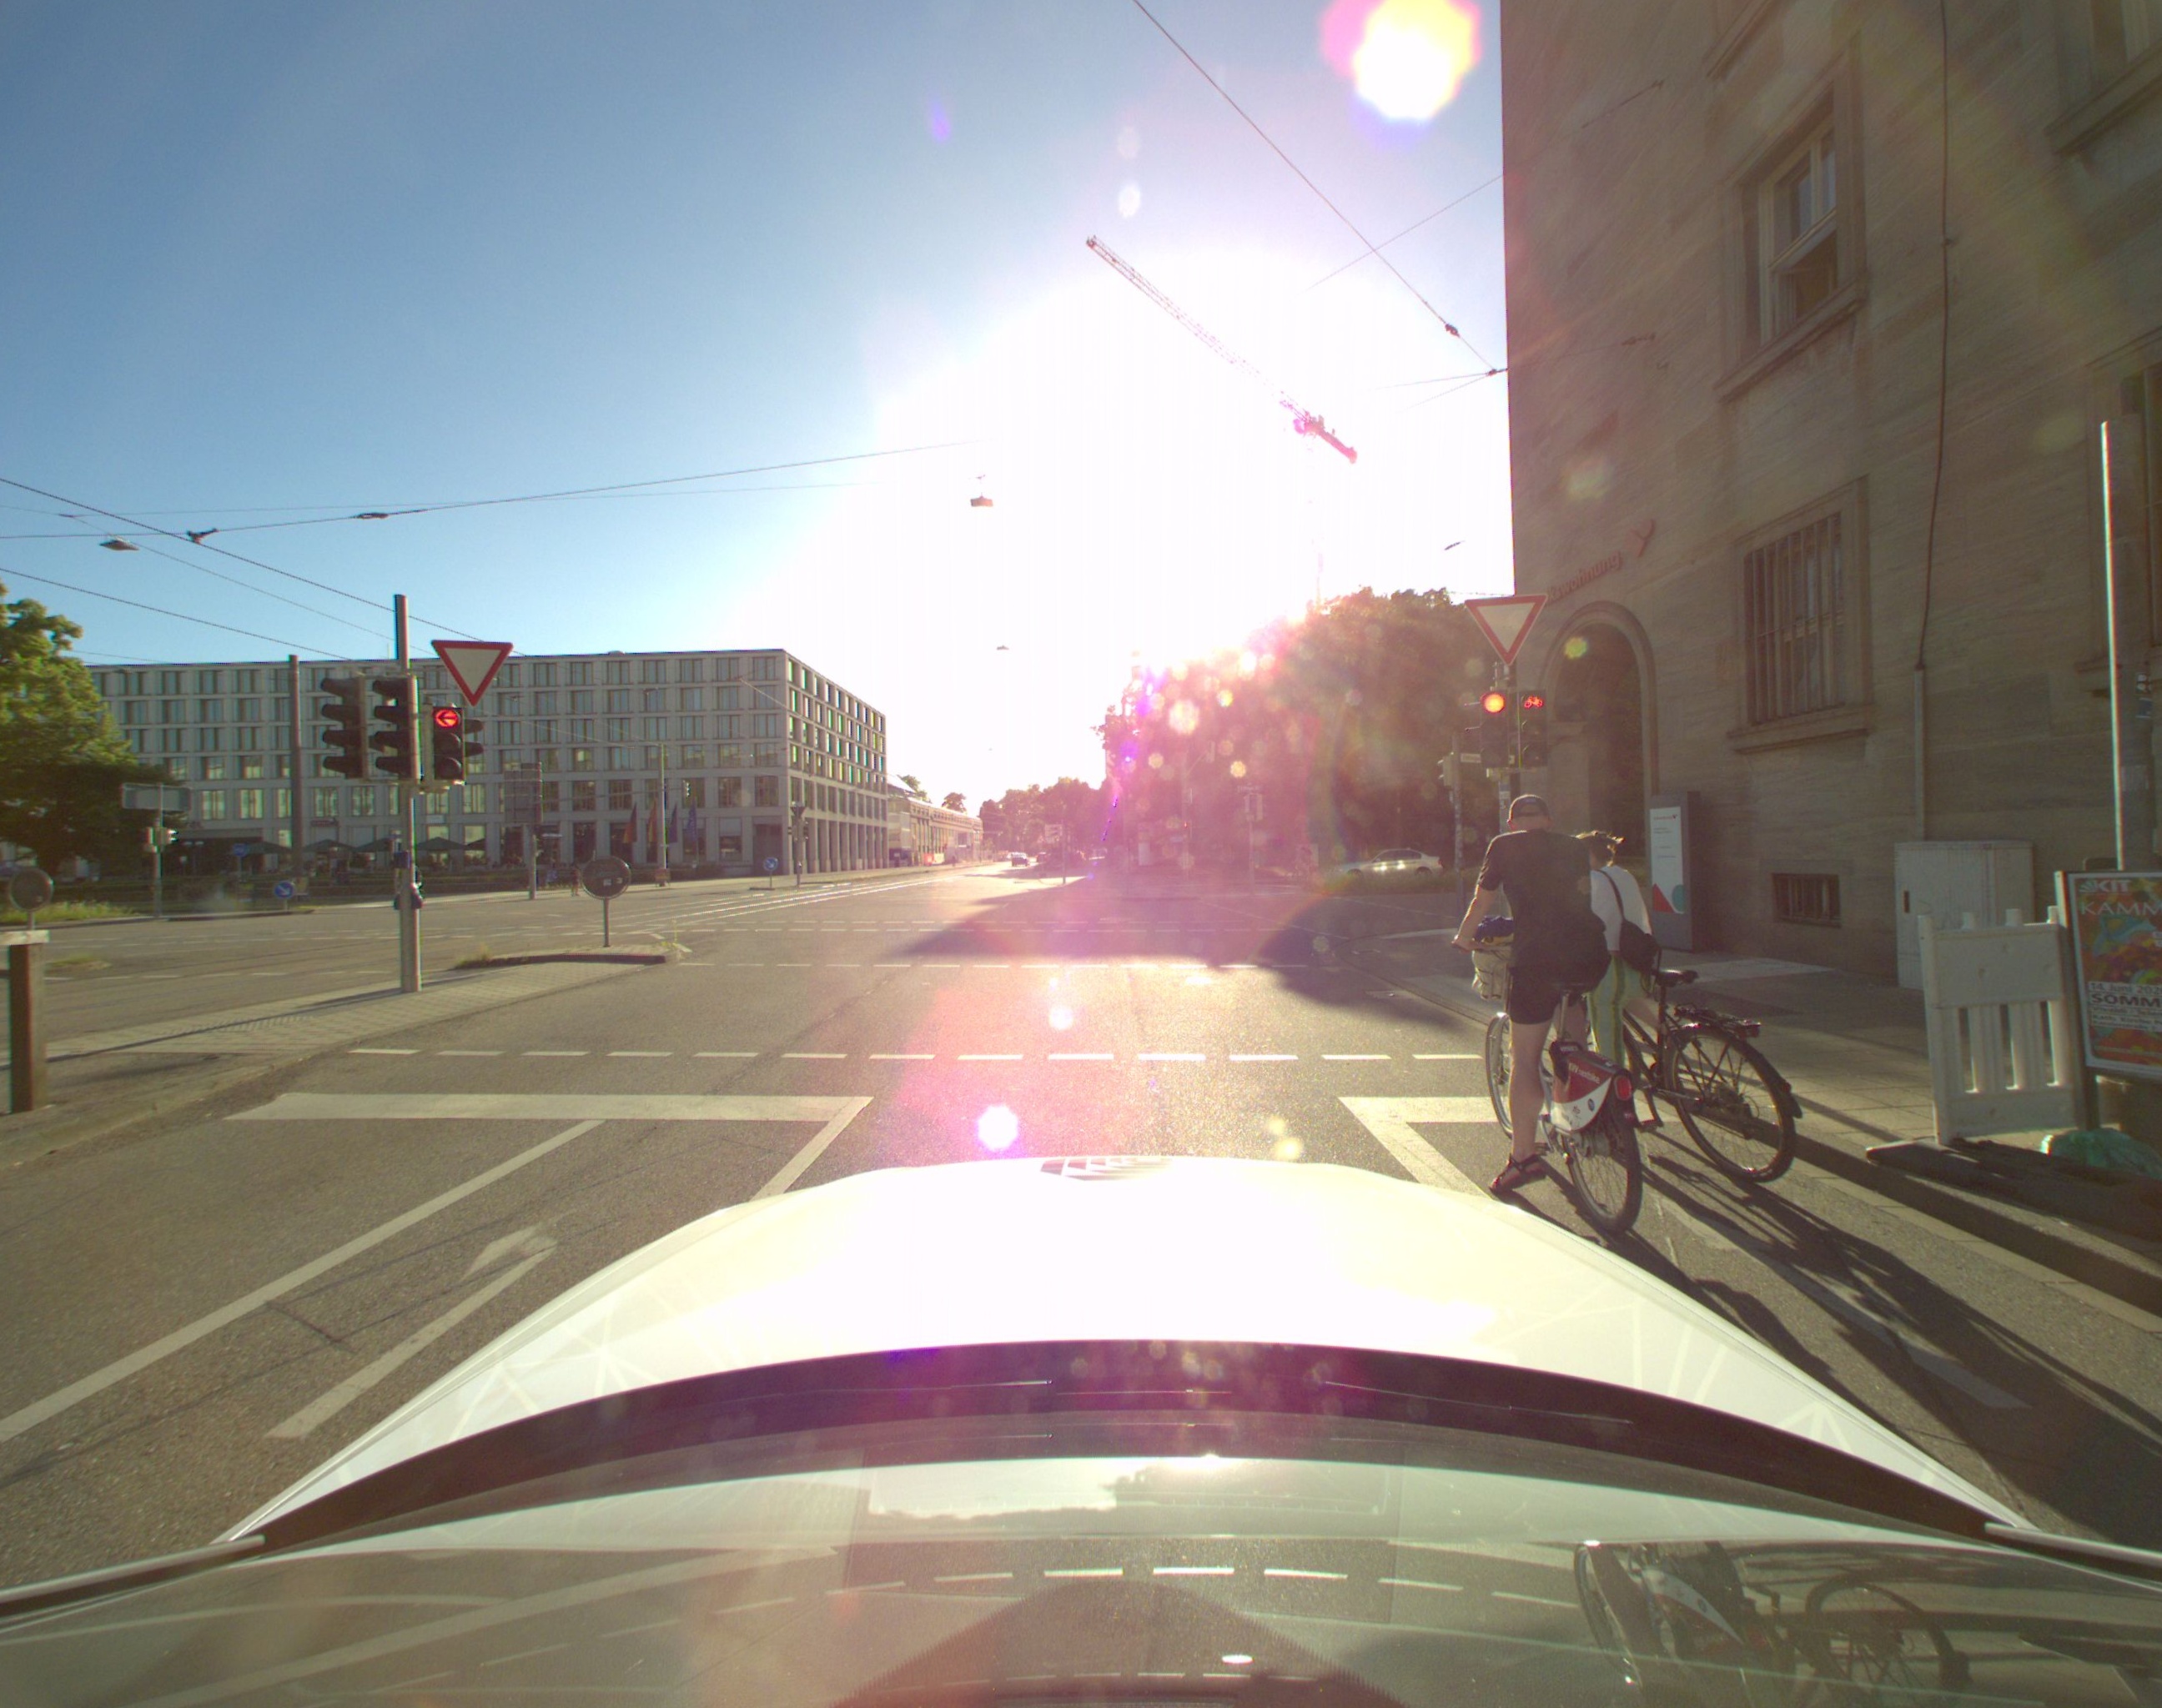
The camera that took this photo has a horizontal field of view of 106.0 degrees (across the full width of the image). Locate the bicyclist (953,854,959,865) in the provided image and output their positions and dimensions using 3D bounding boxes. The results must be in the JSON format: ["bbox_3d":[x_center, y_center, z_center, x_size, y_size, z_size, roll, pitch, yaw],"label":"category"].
[{"bbox_3d":[-14.877,0.675,97.189,0.594,1.377,0.637,0,-1,0],"label":"bicyclist"}]

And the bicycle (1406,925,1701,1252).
[{"bbox_3d":[2.129,0.960,3.941,0.513,1.077,1.729,-1,0,4],"label":"bicycle"}]

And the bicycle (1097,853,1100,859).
[{"bbox_3d":[3.263,0.416,149.415,0.573,1.077,1.831,-2,0,1],"label":"bicycle"}]

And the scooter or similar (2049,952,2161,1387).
[{"bbox_3d":[3.284,0.901,1.867,0.533,1.185,1.328,-2,0,1],"label":"scooter or similar"}]

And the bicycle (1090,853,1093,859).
[{"bbox_3d":[1.978,0.424,149.334,0.573,1.077,1.831,-2,0,1],"label":"bicycle"}]

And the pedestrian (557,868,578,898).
[{"bbox_3d":[-28.684,1.616,45.509,0.776,1.589,0.588,-2,0,-14],"label":"pedestrian"}]

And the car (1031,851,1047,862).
[{"bbox_3d":[-6.554,0.350,127.574,1.884,1.565,4.813,1,0,4],"label":"car"}]

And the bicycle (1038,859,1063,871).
[{"bbox_3d":[-2.564,0.905,67.709,1.996,0.891,0.655,-4,-1,29],"label":"bicycle"}]

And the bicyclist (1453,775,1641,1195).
[{"bbox_3d":[2.131,0.564,3.784,0.556,1.799,0.551,-1,0,3],"label":"bicyclist"}]

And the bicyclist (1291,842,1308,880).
[{"bbox_3d":[9.675,0.305,36.097,0.640,1.683,0.508,-2,0,7],"label":"bicyclist"}]

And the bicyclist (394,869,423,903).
[{"bbox_3d":[-32.668,1.540,39.581,0.752,1.589,0.781,-1,0,20],"label":"bicyclist"}]

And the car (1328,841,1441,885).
[{"bbox_3d":[12.354,0.353,33.260,3.979,1.611,1.650,-2,0,1],"label":"car"}]

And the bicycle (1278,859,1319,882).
[{"bbox_3d":[9.647,0.746,36.118,1.657,0.963,0.535,-2,0,7],"label":"bicycle"}]

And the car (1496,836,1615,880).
[{"bbox_3d":[19.225,0.159,33.078,3.835,1.611,1.650,-2,0,1],"label":"car"}]

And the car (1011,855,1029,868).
[{"bbox_3d":[-7.003,0.894,94.020,1.654,1.455,4.432,-1,0,0],"label":"car"}]

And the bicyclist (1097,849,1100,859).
[{"bbox_3d":[3.241,0.009,149.439,0.567,1.691,0.700,-2,0,1],"label":"bicyclist"}]

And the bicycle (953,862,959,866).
[{"bbox_3d":[-14.860,1.204,97.179,0.499,0.515,1.258,0,-1,1],"label":"bicycle"}]

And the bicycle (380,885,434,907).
[{"bbox_3d":[-32.711,2.024,39.560,0.754,0.935,1.873,-2,0,20],"label":"bicycle"}]

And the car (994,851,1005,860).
[{"bbox_3d":[-15.661,0.258,157.077,1.688,1.718,4.245,0,-1,-1],"label":"car"}]

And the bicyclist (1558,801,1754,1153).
[{"bbox_3d":[2.962,0.594,4.251,0.556,1.691,0.640,-1,0,0],"label":"bicyclist"}]

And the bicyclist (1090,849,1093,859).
[{"bbox_3d":[1.967,0.028,149.372,0.567,1.691,0.700,-2,0,1],"label":"bicyclist"}]

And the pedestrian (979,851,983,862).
[{"bbox_3d":[-18.553,0.430,151.109,0.672,2.014,0.751,0,-1,-1],"label":"pedestrian"}]

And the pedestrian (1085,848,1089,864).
[{"bbox_3d":[0.737,0.248,97.877,0.462,1.813,0.502,-2,0,-3],"label":"pedestrian"}]

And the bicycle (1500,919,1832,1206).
[{"bbox_3d":[2.951,0.961,4.358,0.532,1.077,1.751,-1,0,1],"label":"bicycle"}]

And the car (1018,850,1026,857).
[{"bbox_3d":[-14.232,-0.126,195.327,1.688,1.718,4.245,0,-1,-1],"label":"car"}]
